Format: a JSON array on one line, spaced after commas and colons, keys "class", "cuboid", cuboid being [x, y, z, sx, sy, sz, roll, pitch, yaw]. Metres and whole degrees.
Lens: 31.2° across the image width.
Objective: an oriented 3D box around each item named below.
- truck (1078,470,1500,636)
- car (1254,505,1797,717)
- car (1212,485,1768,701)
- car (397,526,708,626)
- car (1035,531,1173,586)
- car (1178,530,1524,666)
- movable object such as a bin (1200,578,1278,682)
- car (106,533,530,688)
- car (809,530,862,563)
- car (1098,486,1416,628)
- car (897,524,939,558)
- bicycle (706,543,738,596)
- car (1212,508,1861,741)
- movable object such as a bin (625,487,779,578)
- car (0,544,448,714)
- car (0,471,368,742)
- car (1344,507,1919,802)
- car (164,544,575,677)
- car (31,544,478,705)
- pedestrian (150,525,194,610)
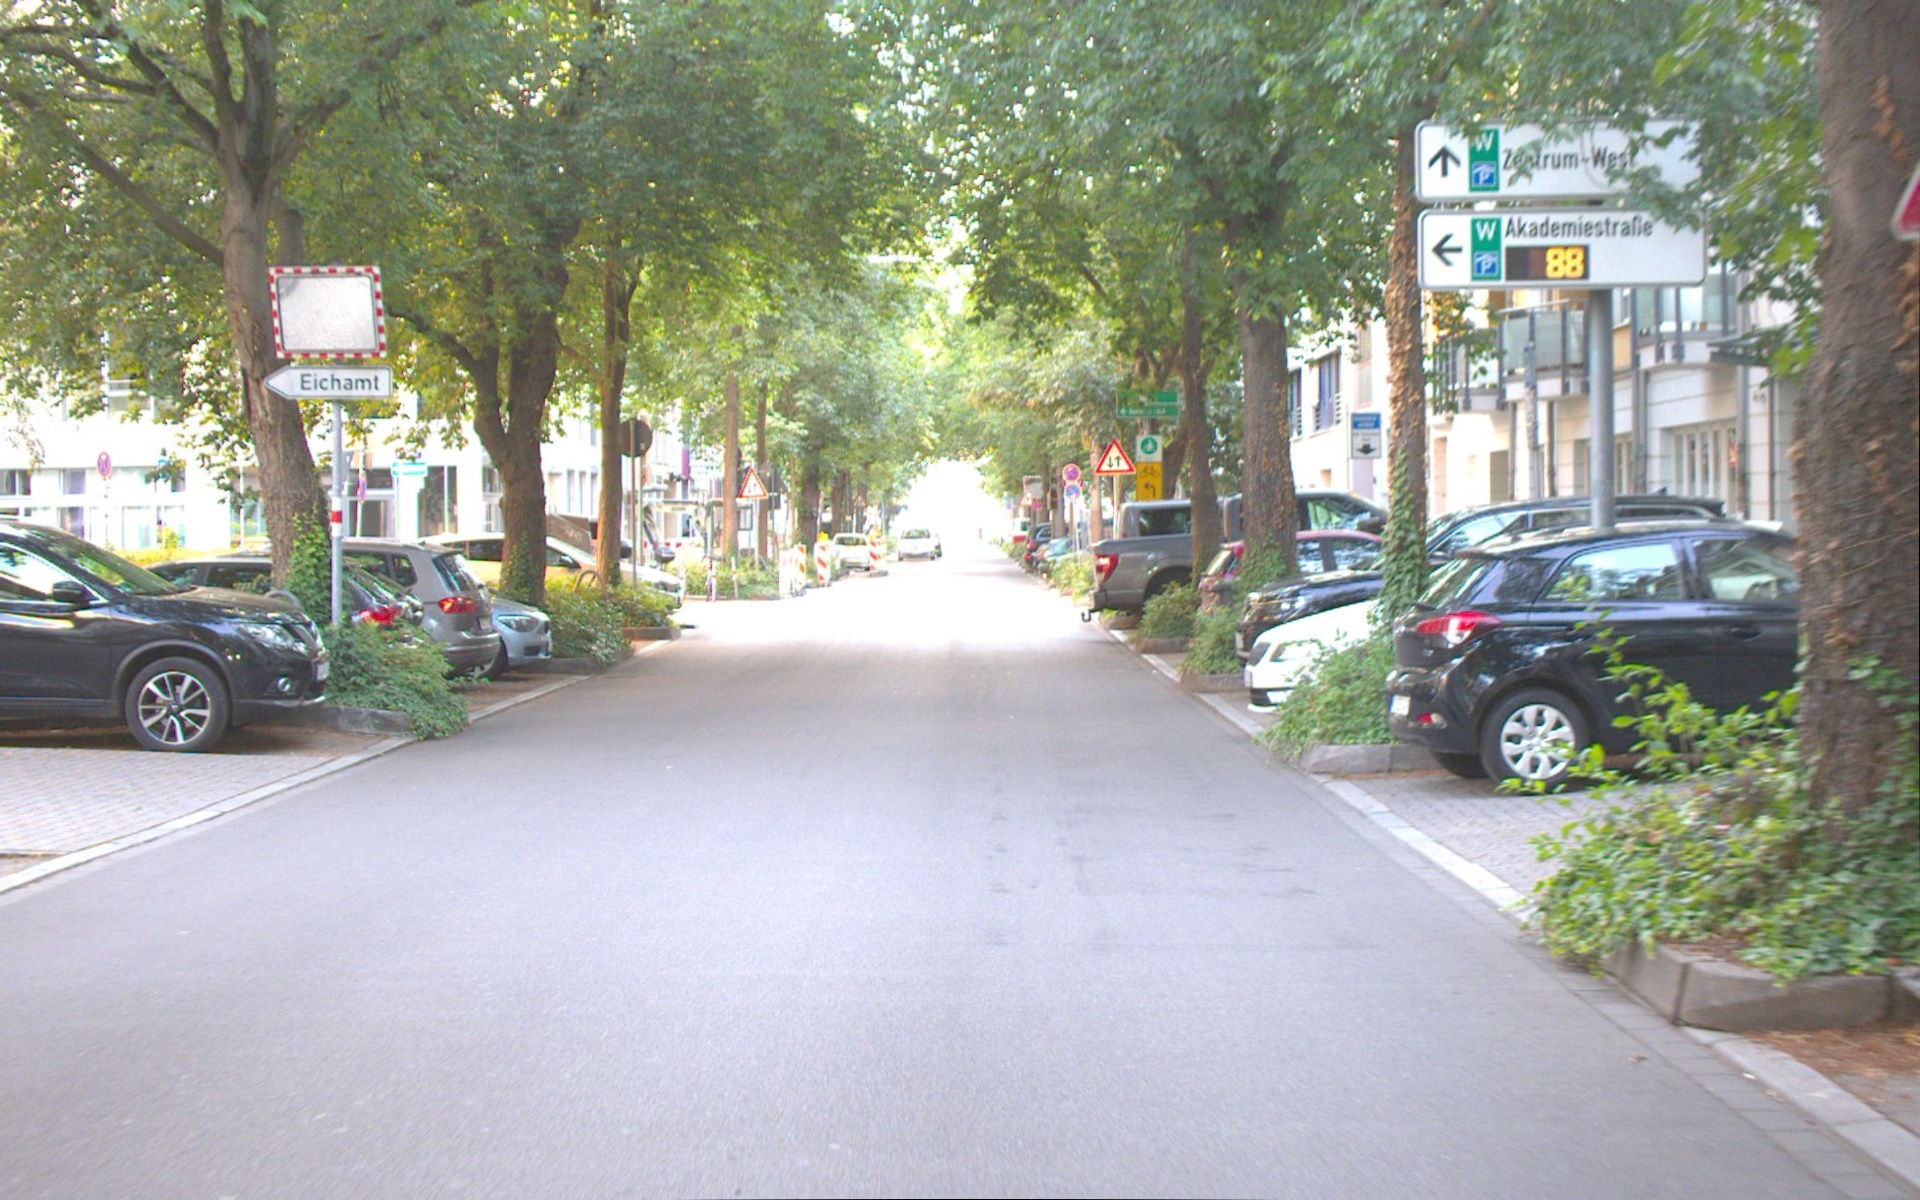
[{"class": "truck", "cuboid": [4.676, -0.683, 49.601, 5.888, 2.303, 2.212, 0, 1, 1]}, {"class": "car", "cuboid": [4.683, 0.071, 28.977, 4.224, 1.433, 1.929, -4, 1, 2]}, {"class": "car", "cuboid": [4.798, -0.084, 31.566, 4.642, 1.612, 2.010, -4, 1, -3]}, {"class": "car", "cuboid": [-6.418, -0.395, 54.532, 4.619, 1.547, 2.075, 0, 1, 3]}, {"class": "car", "cuboid": [4.220, -1.233, 101.023, 3.987, 1.579, 2.000, 0, 1, 2]}, {"class": "car", "cuboid": [4.501, -0.045, 39.993, 3.776, 1.539, 1.878, 0, 1, -1]}, {"class": "movable object such as a bin", "cuboid": [3.035, 0.324, 37.459, 0.760, 1.080, 0.785, -2, 1, 1]}, {"class": "car", "cuboid": [-6.680, 0.093, 36.033, 3.988, 1.560, 1.929, 0, 1, 6]}, {"class": "car", "cuboid": [-4.992, -2.161, 137.466, 1.993, 1.284, 4.001, 0, 1, -4]}, {"class": "car", "cuboid": [4.471, -0.672, 52.348, 4.600, 2.059, 2.198, -1, 1, -1]}, {"class": "car", "cuboid": [-2.041, -2.862, 166.263, 2.009, 1.607, 4.120, -1, 1, -1]}, {"class": "bicycle", "cuboid": [-5.391, -0.700, 77.850, 0.683, 1.148, 1.981, -1, 2, -5]}, {"class": "car", "cuboid": [4.346, 0.162, 26.400, 4.599, 1.463, 1.796, -3, 1, 0]}, {"class": "movable object such as a bin", "cuboid": [-6.953, -1.832, 92.380, 4.045, 2.375, 2.785, -1, 2, -5]}, {"class": "car", "cuboid": [-6.743, 0.238, 30.987, 3.987, 1.459, 1.922, 0, 1, -1]}, {"class": "car", "cuboid": [-6.852, 0.029, 25.761, 4.504, 1.948, 2.000, 0, 1, -1]}, {"class": "car", "cuboid": [4.522, 0.264, 20.375, 4.082, 1.446, 1.935, -4, 1, -5]}, {"class": "car", "cuboid": [-6.584, 0.099, 38.661, 4.287, 1.425, 1.879, 0, 1, 0]}, {"class": "car", "cuboid": [-6.784, 0.211, 33.370, 3.986, 1.485, 1.826, 0, 1, -2]}, {"class": "pedestrian", "cuboid": [-17.290, -0.724, 75.468, 0.887, 1.844, 0.876, -1, 1, -11]}]
